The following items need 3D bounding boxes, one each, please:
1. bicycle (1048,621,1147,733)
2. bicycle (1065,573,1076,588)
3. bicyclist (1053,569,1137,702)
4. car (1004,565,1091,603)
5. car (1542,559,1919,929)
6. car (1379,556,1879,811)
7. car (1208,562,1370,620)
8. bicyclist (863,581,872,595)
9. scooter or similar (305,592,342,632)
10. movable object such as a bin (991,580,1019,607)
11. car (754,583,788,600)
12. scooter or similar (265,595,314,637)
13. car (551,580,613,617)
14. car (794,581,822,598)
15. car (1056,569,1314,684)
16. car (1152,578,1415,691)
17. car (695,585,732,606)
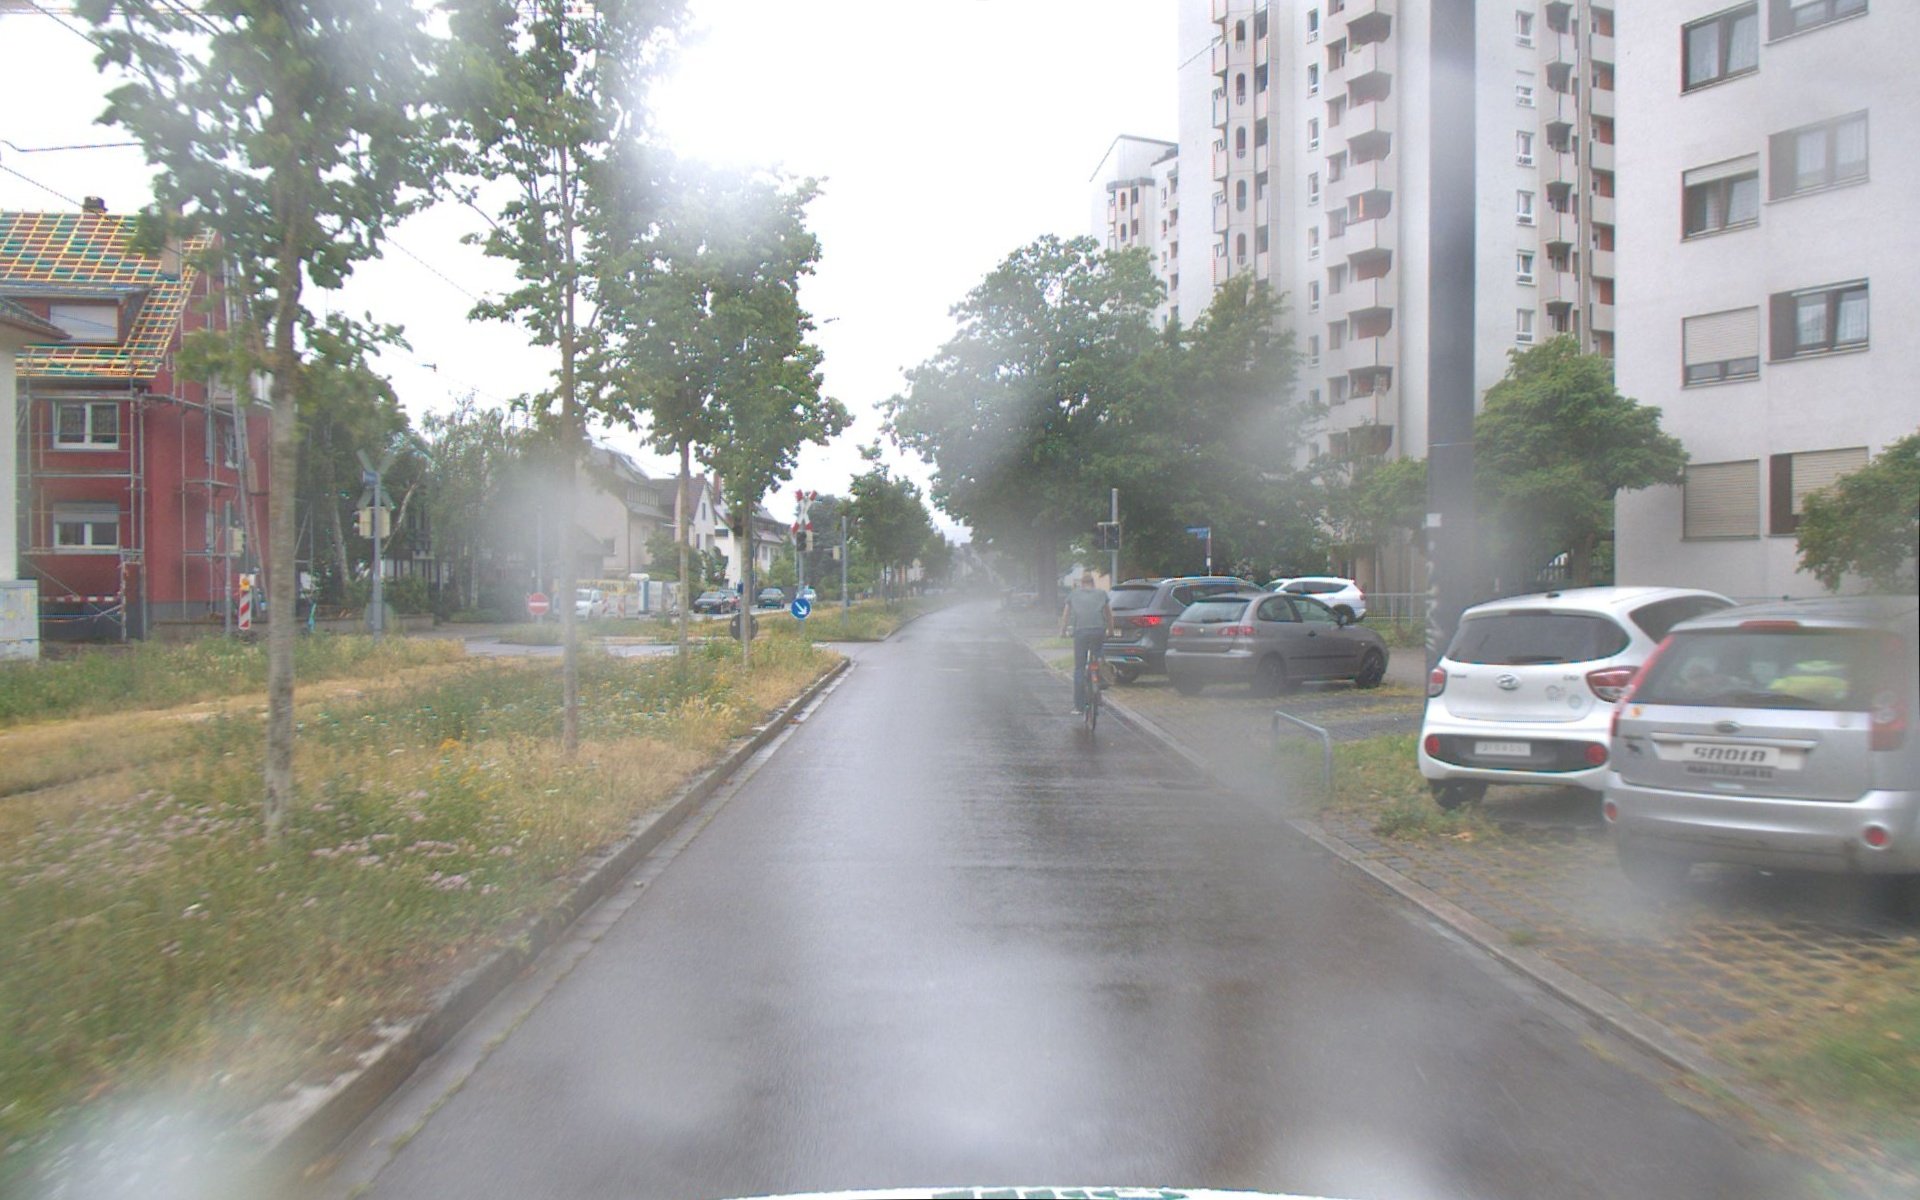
[{"bbox_3d":[1.528,0.835,18.867,0.793,1.116,2.516,-1,1,-3],"label":"bicycle"},{"bbox_3d":[8.457,-1.503,126.311,0.719,1.075,2.051,-1,1,1],"label":"bicycle"},{"bbox_3d":[1.525,0.387,18.852,0.793,1.458,1.059,-1,0,-3],"label":"bicyclist"},{"bbox_3d":[4.537,-0.835,85.923,4.095,1.749,1.979,-4,2,-31],"label":"car"},{"bbox_3d":[5.037,0.581,8.758,3.957,1.534,1.761,-2,-1,-37],"label":"car"},{"bbox_3d":[4.967,0.508,12.051,3.963,1.534,1.681,-2,-1,-40],"label":"car"},{"bbox_3d":[10.518,-0.294,52.957,4.723,1.776,1.992,-1,1,-15],"label":"car"},{"bbox_3d":[-11.137,-1.419,199.529,0.997,1.715,1.092,-1,0,1],"label":"bicyclist"},{"bbox_3d":[-19.446,0.371,50.555,0.385,1.201,1.284,-1,0,15],"label":"scooter or similar"},{"bbox_3d":[2.702,-0.416,99.381,1.109,1.482,1.393,-7,2,-20],"label":"movable object such as a bin"},{"bbox_3d":[-15.037,-0.675,131.778,1.857,1.266,4.690,2,1,4],"label":"car"},{"bbox_3d":[-19.232,0.451,47.455,0.432,1.149,1.280,0,0,30],"label":"scooter or similar"},{"bbox_3d":[-17.441,-0.097,76.446,1.675,1.569,4.423,2,1,2],"label":"car"},{"bbox_3d":[-14.112,-0.964,153.903,1.857,1.495,4.690,2,1,4],"label":"car"},{"bbox_3d":[3.733,0.367,27.003,4.312,1.680,1.830,-2,1,-42],"label":"car"},{"bbox_3d":[4.745,0.445,24.003,3.966,1.453,1.708,-2,1,-42],"label":"car"},{"bbox_3d":[-15.774,-0.318,105.826,1.629,1.266,4.072,2,1,1],"label":"car"}]
